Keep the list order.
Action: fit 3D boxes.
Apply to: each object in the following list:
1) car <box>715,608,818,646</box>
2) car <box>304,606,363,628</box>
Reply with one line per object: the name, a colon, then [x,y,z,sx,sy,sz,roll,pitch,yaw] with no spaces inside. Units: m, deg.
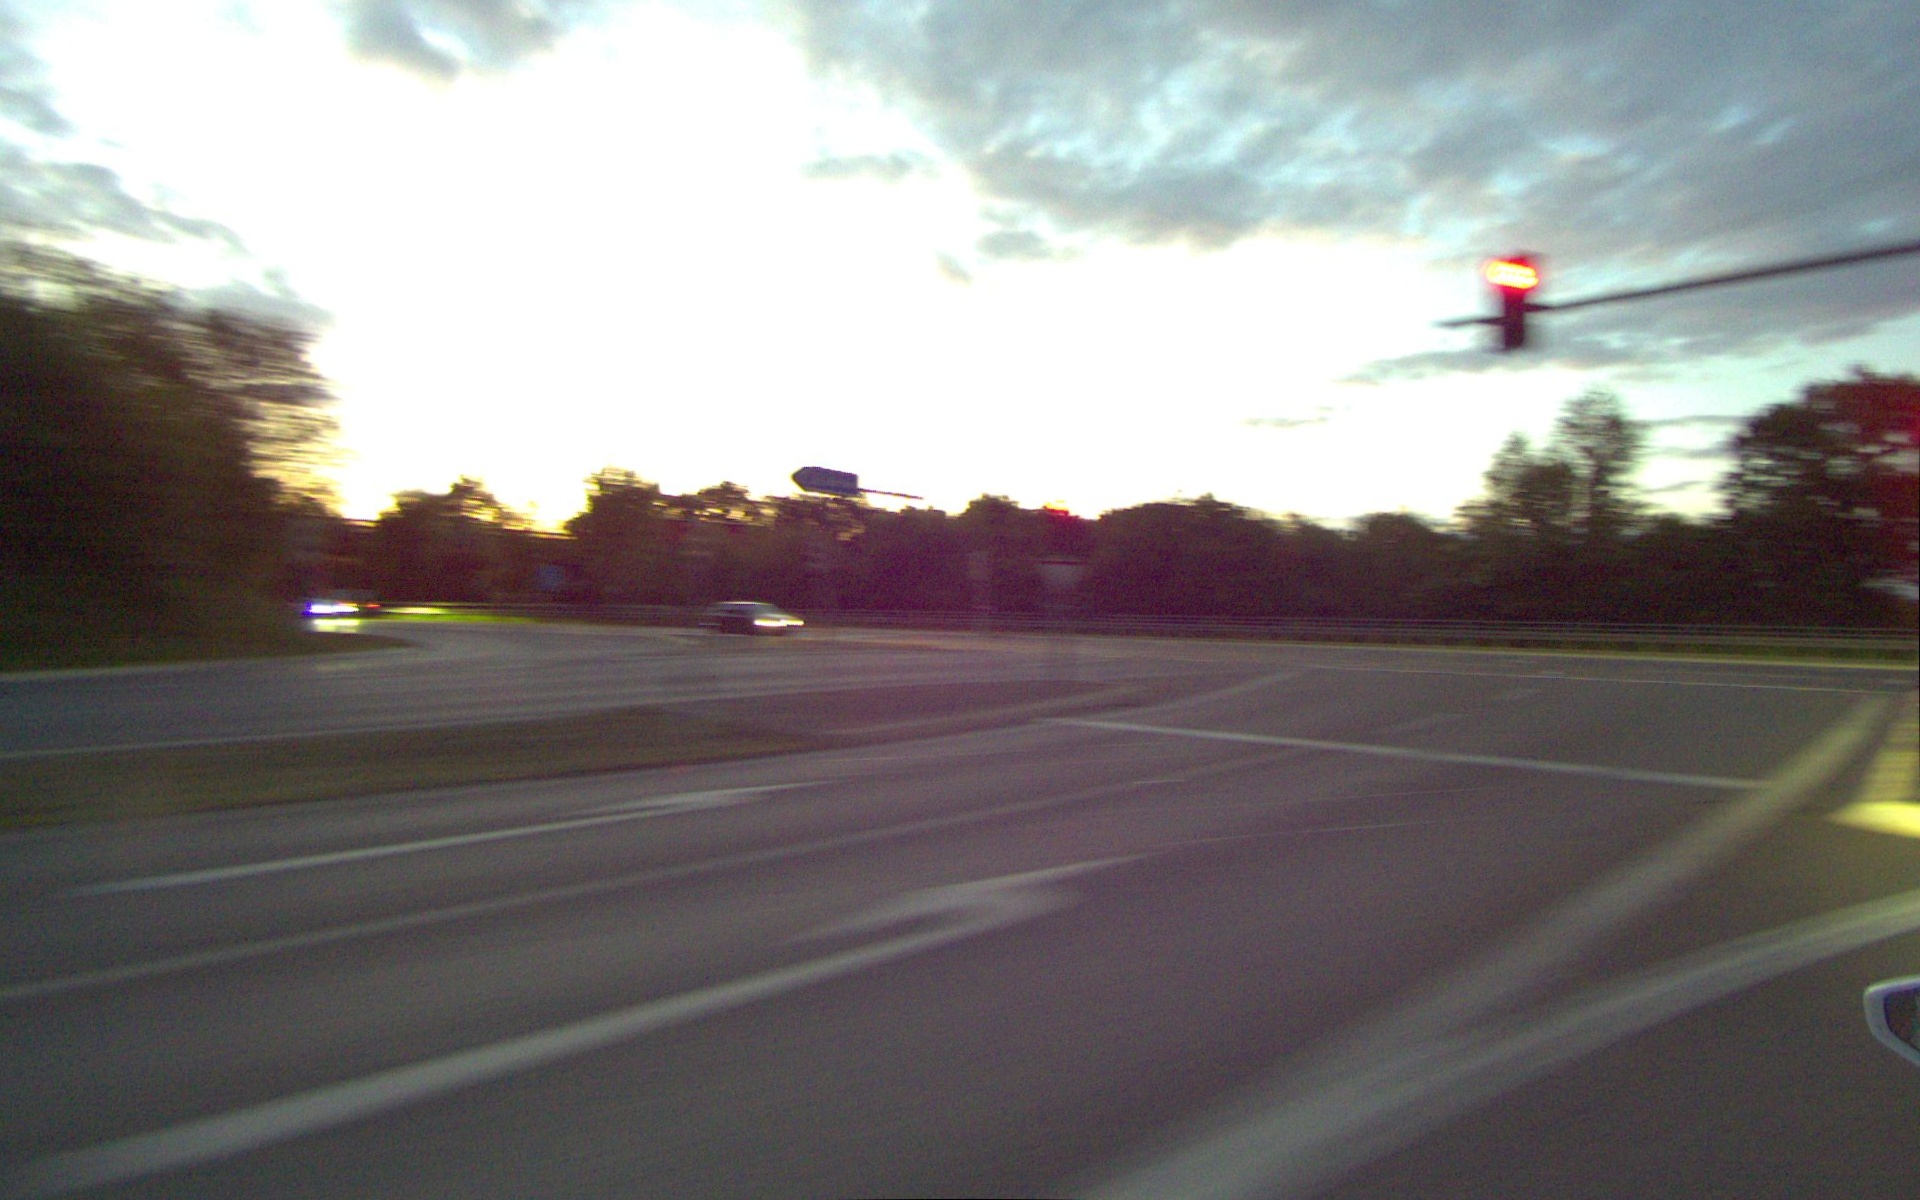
car: [-8.010,1.118,41.528,3.933,1.472,1.995,0,-3,34]
car: [-44.389,1.204,71.136,4.659,1.472,1.992,0,-1,37]
